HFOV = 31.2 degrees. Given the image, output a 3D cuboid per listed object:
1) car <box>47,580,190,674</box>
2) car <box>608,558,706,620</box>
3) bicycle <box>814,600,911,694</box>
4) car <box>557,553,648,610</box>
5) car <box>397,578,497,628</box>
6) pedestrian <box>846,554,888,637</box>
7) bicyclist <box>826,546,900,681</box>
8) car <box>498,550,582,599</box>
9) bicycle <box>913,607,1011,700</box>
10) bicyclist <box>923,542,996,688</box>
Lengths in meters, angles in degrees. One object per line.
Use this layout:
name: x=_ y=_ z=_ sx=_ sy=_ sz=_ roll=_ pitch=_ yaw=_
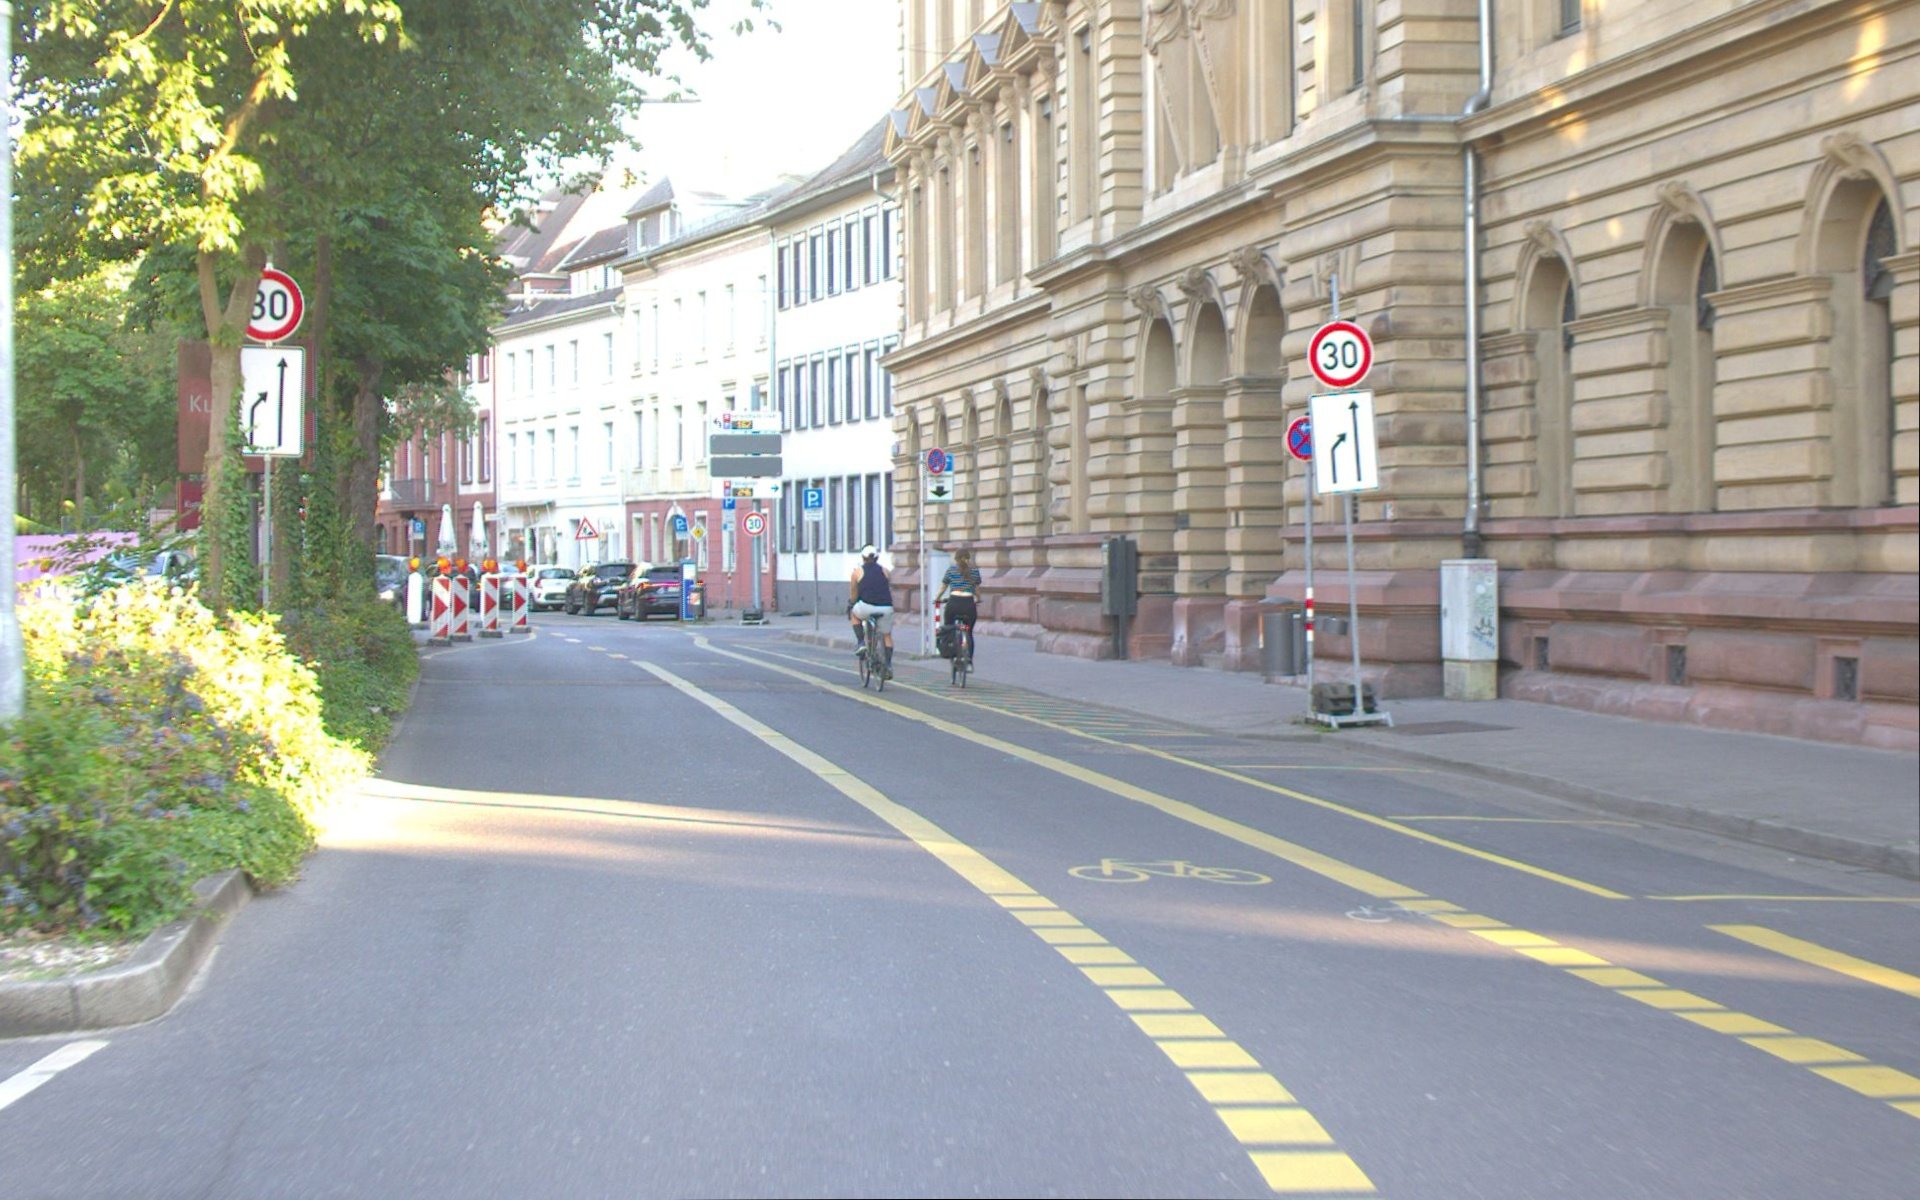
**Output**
car: x=-16.021 y=0.481 z=65.653 sx=1.842 sy=1.668 sz=4.557 roll=-2 pitch=1 yaw=-4
car: x=-8.467 y=-0.315 z=95.760 sx=1.812 sy=1.677 sz=3.920 roll=0 pitch=0 yaw=-19
bicycle: x=-1.174 y=0.543 z=40.786 sx=0.669 sy=1.067 sz=1.902 roll=1 pitch=0 yaw=-16
car: x=-10.781 y=-0.546 z=103.481 sx=1.812 sy=1.678 sz=4.001 roll=0 pitch=0 yaw=-20
car: x=-16.339 y=0.075 z=109.444 sx=1.812 sy=1.555 sz=3.865 roll=0 pitch=0 yaw=-31
pedestrian: x=-1.990 y=-0.099 z=73.449 sx=0.816 sy=1.759 sz=1.038 roll=1 pitch=1 yaw=-5
bicyclist: x=-1.149 y=0.160 z=40.700 sx=0.668 sy=1.560 sz=0.699 roll=2 pitch=0 yaw=-16
car: x=-13.576 y=-0.811 z=111.085 sx=1.812 sy=1.555 sz=3.866 roll=0 pitch=0 yaw=-21
bicycle: x=0.014 y=0.641 z=42.009 sx=0.652 sy=1.067 sz=2.259 roll=2 pitch=0 yaw=-13
bicyclist: x=-0.011 y=0.181 z=42.195 sx=0.649 sy=1.754 sz=0.864 roll=2 pitch=0 yaw=-13
